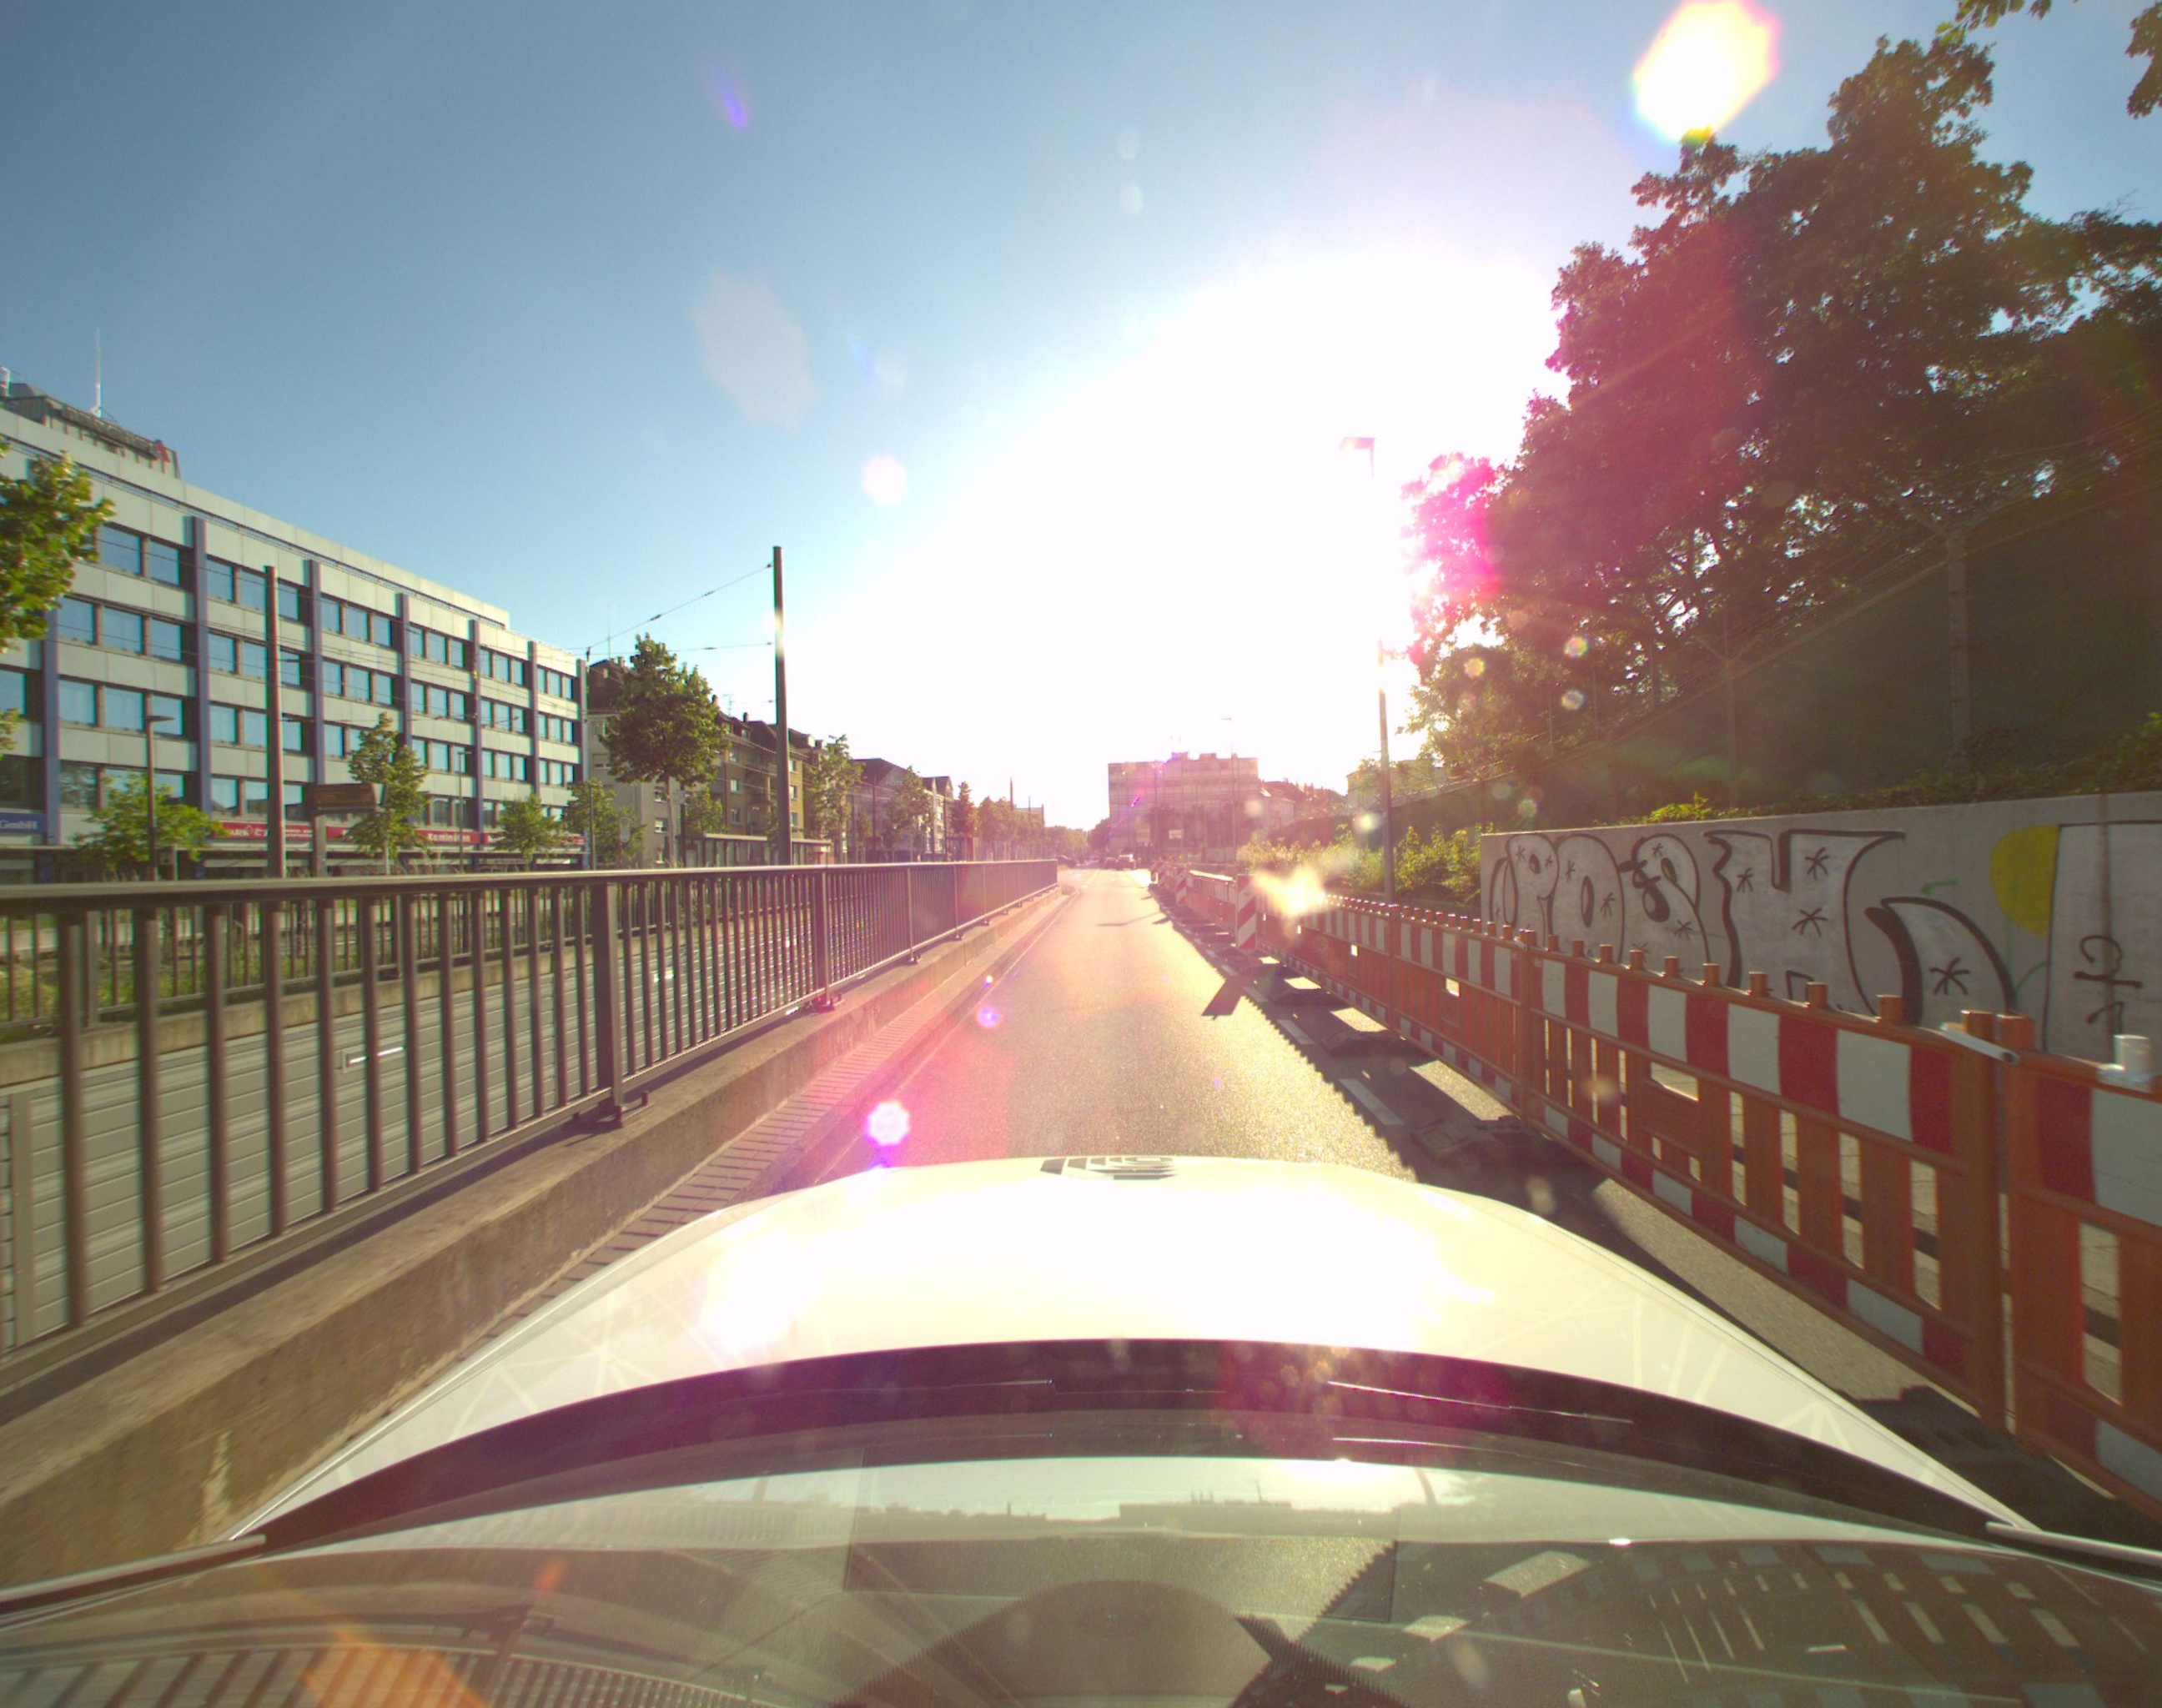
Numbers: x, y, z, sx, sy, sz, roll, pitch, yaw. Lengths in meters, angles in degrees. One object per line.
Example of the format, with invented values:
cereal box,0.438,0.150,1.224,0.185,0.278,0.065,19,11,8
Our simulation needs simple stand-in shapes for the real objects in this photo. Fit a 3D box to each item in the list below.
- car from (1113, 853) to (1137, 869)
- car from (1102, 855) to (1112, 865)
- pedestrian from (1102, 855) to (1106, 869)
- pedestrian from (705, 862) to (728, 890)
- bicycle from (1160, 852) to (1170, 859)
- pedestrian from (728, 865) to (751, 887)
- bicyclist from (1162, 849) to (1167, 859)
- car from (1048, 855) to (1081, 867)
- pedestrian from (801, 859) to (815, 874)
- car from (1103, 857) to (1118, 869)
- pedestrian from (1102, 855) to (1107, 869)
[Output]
car,5.130,0.816,93.909,1.979,1.693,4.016,0,1,14
car,6.615,1.506,207.228,2.477,2.392,5.935,-3,-1,1
pedestrian,3.310,1.094,116.985,0.610,2.014,0.511,-1,-1,5
pedestrian,-19.290,1.155,43.119,0.835,1.410,0.804,-2,0,1
bicycle,14.970,0.281,145.245,1.775,1.072,0.533,-2,-1,-9
pedestrian,-19.170,1.236,45.690,0.930,1.197,0.764,-2,0,1
bicyclist,14.920,-0.046,145.239,0.663,1.712,0.537,-2,-1,-8
car,-2.562,1.091,126.271,4.784,1.750,2.007,-1,0,13
pedestrian,-18.586,0.854,55.532,0.625,1.047,0.794,-2,0,1
car,3.723,1.093,103.061,1.738,1.426,3.999,-1,0,0
pedestrian,3.353,1.096,117.541,0.610,2.014,0.511,-1,-1,5
